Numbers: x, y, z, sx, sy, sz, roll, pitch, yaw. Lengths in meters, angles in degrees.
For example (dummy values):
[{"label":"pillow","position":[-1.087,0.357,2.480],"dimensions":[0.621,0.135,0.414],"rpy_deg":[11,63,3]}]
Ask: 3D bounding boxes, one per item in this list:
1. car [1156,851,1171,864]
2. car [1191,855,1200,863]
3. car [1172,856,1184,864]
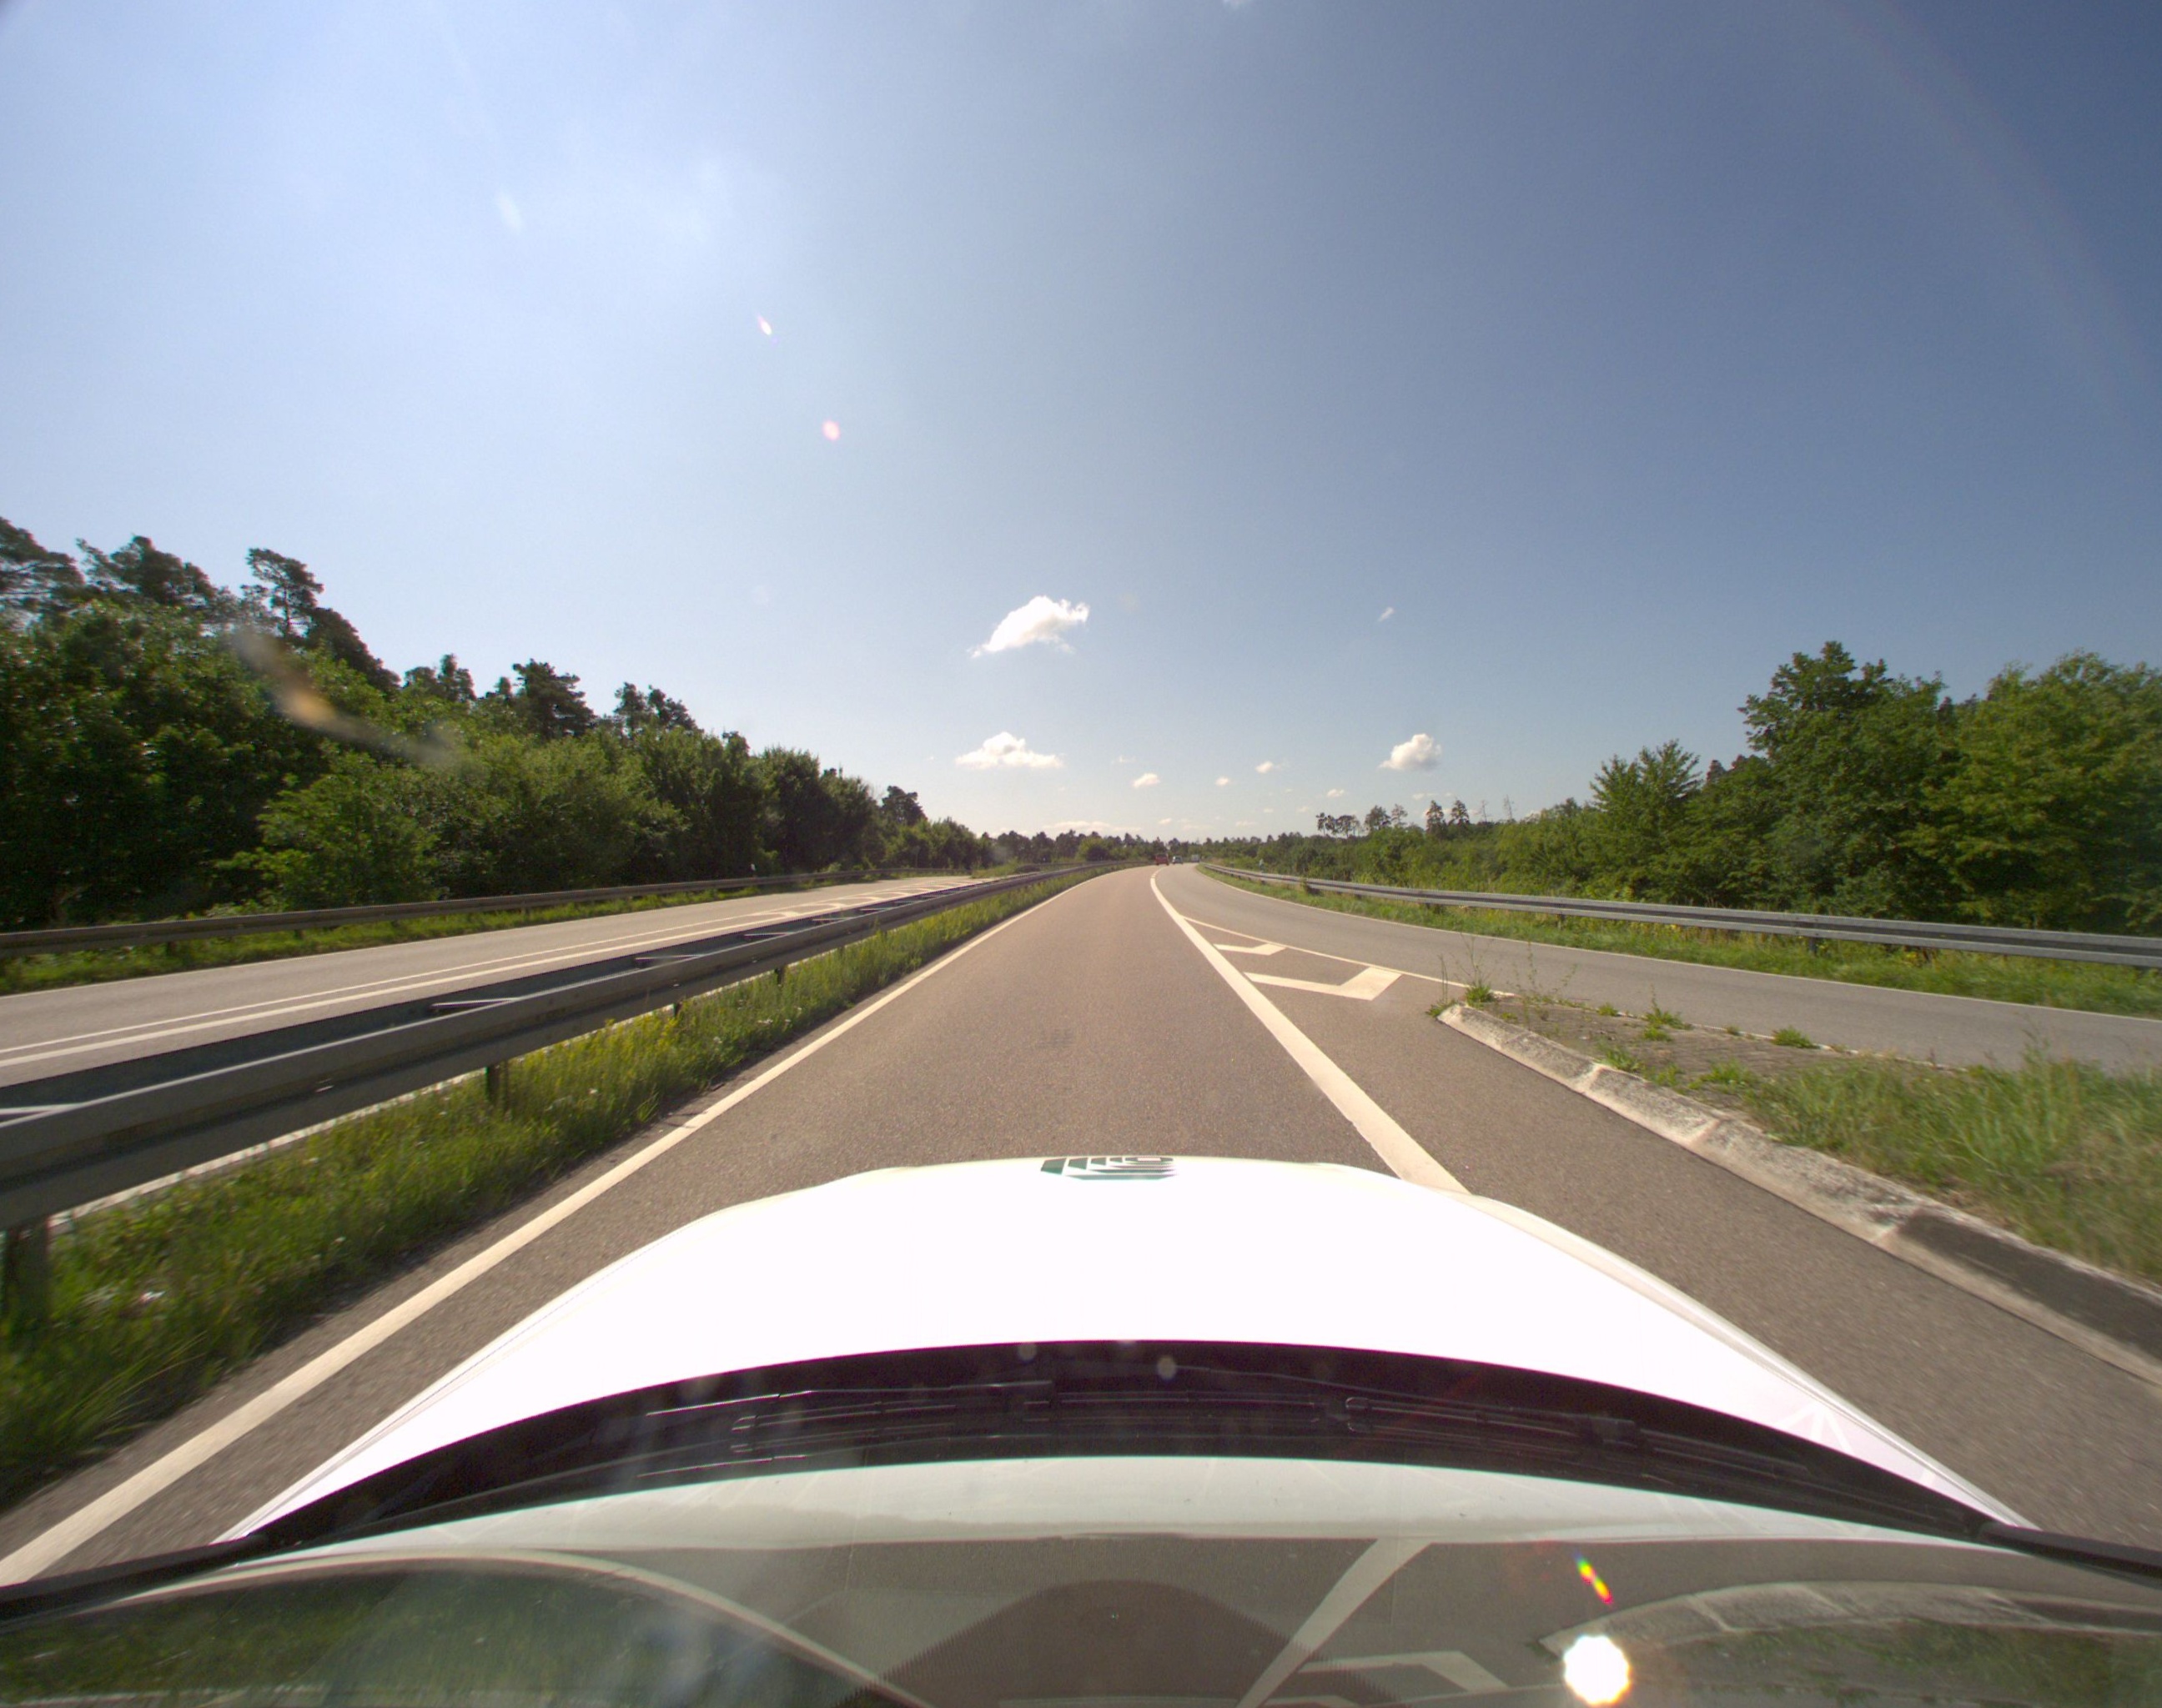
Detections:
[{"label":"car","position":[13.072,0.648,129.220],"dimensions":[2.065,1.993,5.125],"rpy_deg":[0,-1,10]},{"label":"car","position":[28.390,1.309,202.103],"dimensions":[2.171,1.955,5.819],"rpy_deg":[0,-1,10]},{"label":"car","position":[18.079,1.162,151.302],"dimensions":[1.995,1.494,4.249],"rpy_deg":[0,-1,10]}]
